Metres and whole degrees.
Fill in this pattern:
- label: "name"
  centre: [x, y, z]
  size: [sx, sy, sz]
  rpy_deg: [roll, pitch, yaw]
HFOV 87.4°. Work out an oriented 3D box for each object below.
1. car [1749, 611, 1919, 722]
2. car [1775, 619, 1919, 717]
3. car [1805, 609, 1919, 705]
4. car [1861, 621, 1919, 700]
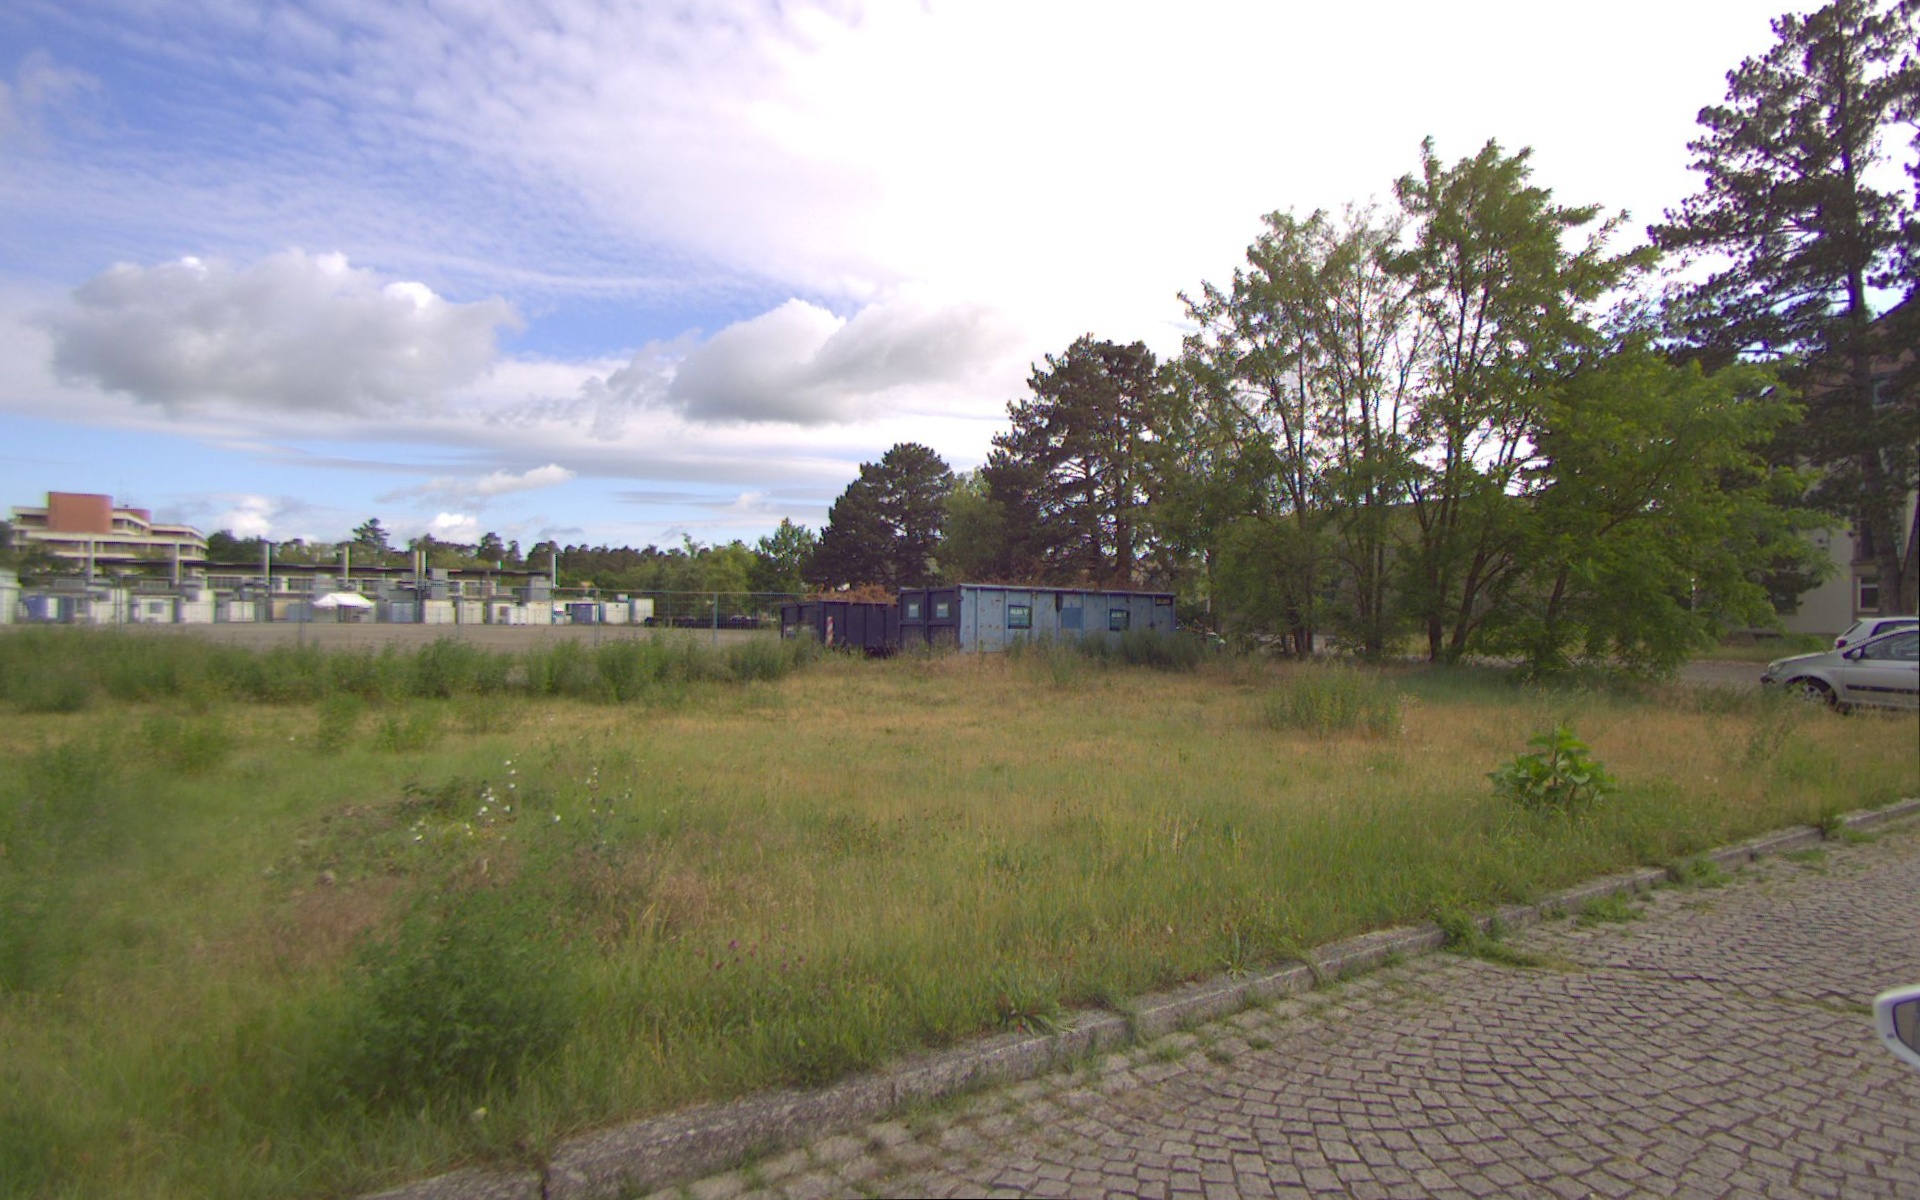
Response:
- label: "car"
  centre: [14.319, 0.999, 14.953]
  size: [1.656, 1.501, 3.696]
  rpy_deg: [1, 2, -34]
- label: "car"
  centre: [16.354, 1.110, 16.546]
  size: [1.796, 1.574, 4.266]
  rpy_deg: [1, -2, -38]
- label: "car"
  centre: [18.457, 1.041, 18.425]
  size: [1.637, 1.755, 4.267]
  rpy_deg: [1, -2, -37]
- label: "car"
  centre: [20.590, 1.198, 19.585]
  size: [1.796, 1.574, 4.266]
  rpy_deg: [1, -2, -38]
